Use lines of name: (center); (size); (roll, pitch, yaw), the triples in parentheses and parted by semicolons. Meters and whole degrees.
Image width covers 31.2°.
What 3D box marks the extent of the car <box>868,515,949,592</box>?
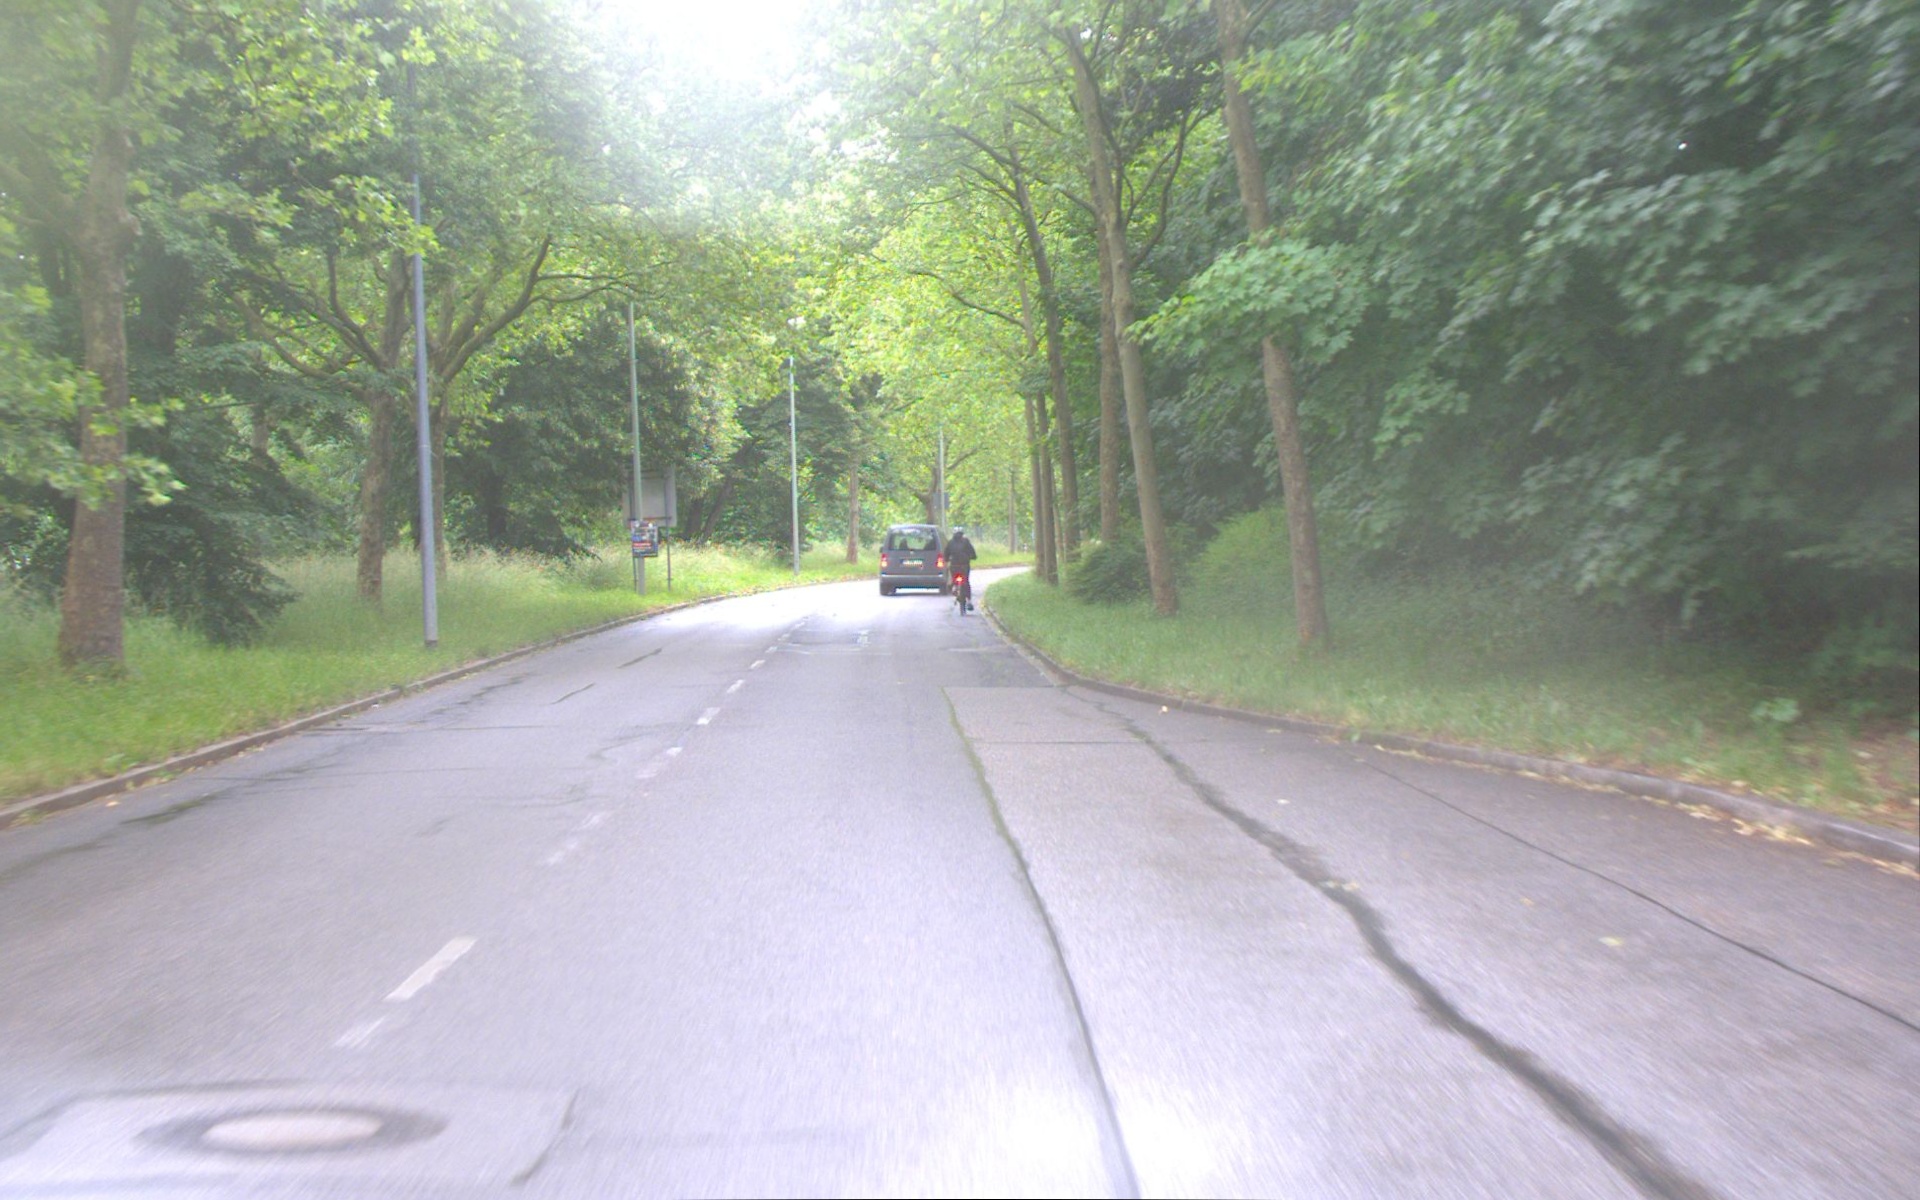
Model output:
car: (-1.360, -1.224, 89.495); (1.985, 1.919, 4.001); (-1, 1, -2)

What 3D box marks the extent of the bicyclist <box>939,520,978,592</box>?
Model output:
bicyclist: (-0.031, -0.862, 67.258); (0.730, 1.406, 0.973); (0, 1, 2)

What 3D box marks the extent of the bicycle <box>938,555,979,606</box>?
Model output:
bicycle: (-0.026, -0.389, 67.343); (0.730, 0.970, 2.173); (0, 1, 2)
